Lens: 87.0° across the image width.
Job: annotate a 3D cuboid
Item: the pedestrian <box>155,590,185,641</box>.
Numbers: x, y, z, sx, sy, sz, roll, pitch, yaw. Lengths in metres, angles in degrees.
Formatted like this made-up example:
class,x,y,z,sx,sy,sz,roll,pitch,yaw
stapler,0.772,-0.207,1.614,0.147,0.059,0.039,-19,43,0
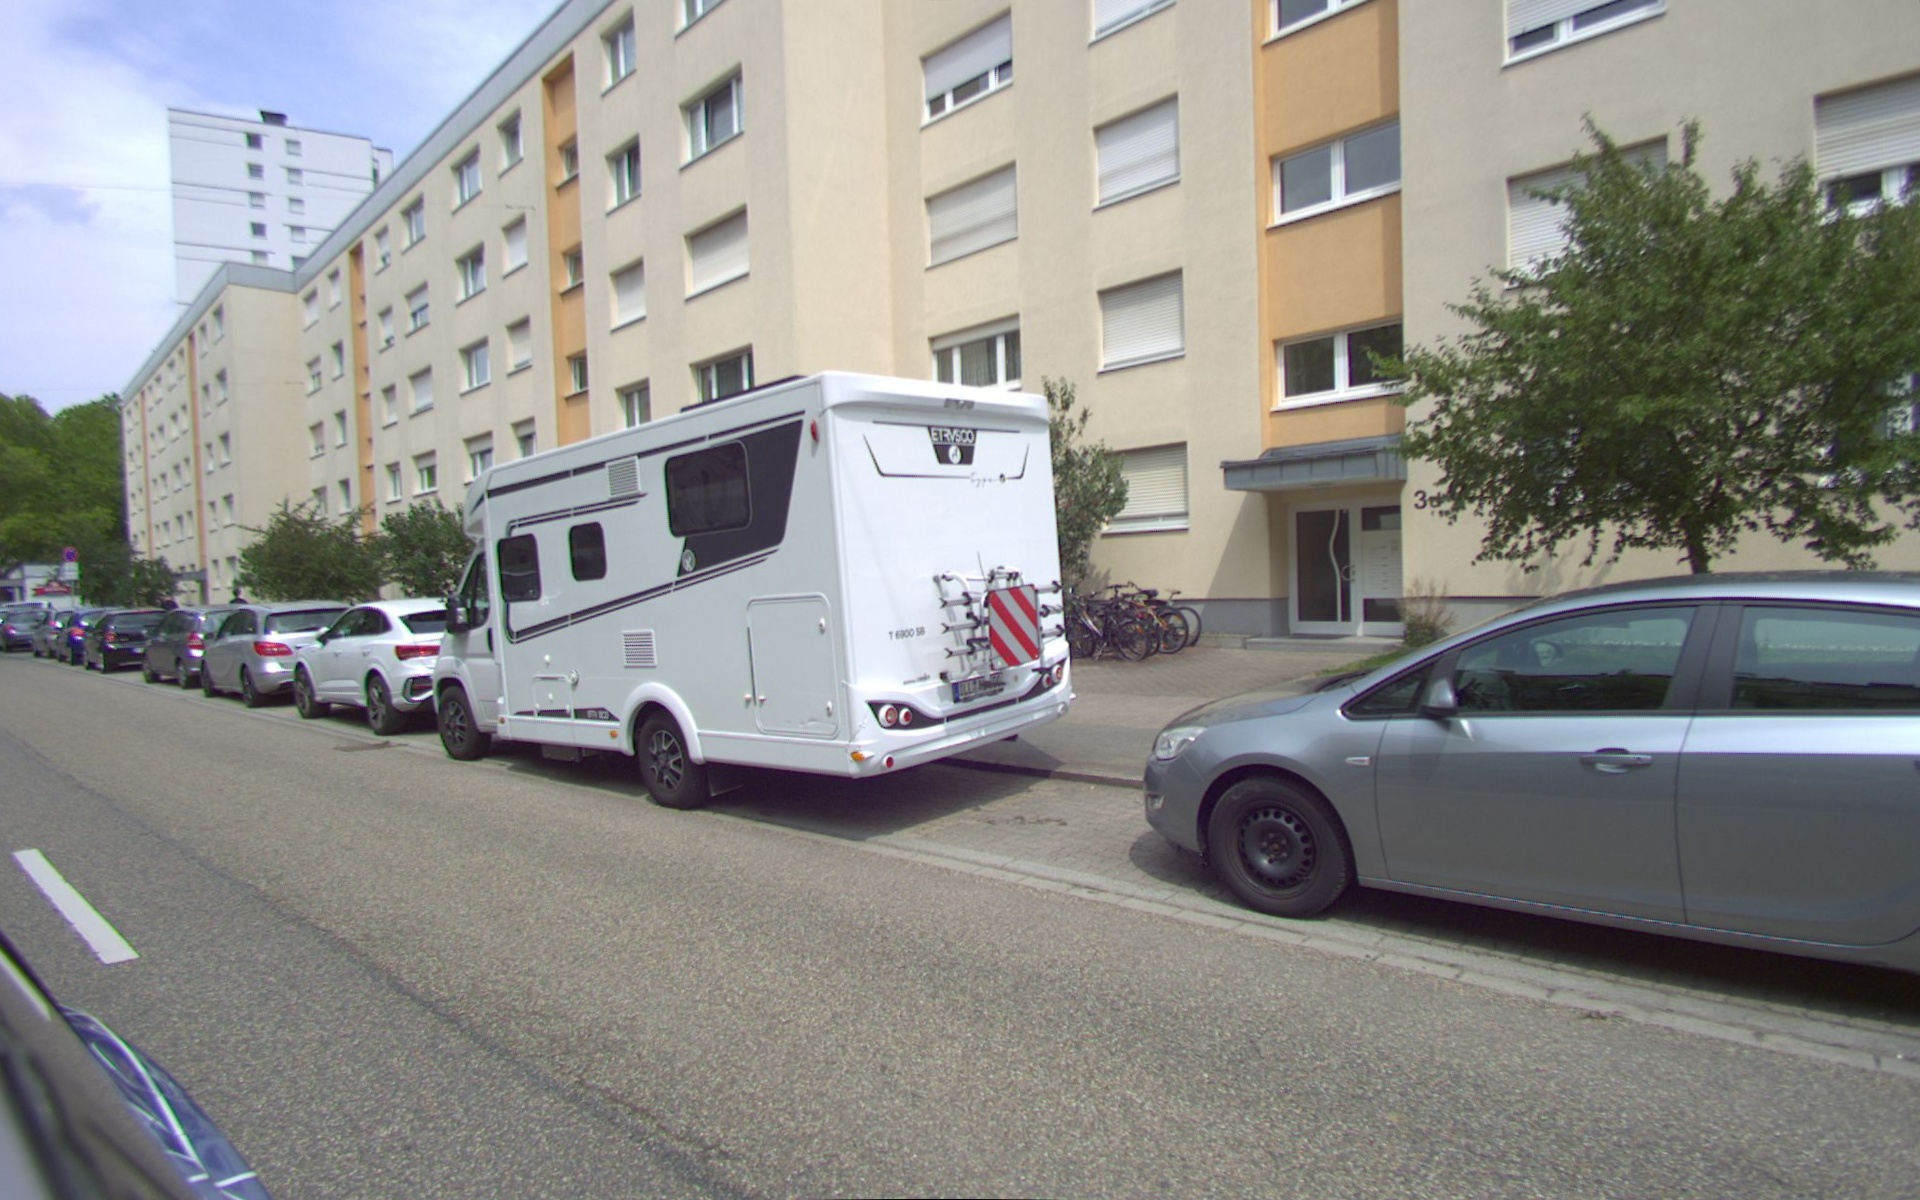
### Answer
class,x,y,z,sx,sy,sz,roll,pitch,yaw
pedestrian,-29.071,0.555,37.225,0.898,1.826,0.613,-1,2,39

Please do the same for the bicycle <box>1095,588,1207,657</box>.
class,x,y,z,sx,sy,sz,roll,pitch,yaw
bicycle,2.842,0.341,15.170,1.685,0.986,0.392,-2,0,44

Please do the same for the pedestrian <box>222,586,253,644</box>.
class,x,y,z,sx,sy,sz,roll,pitch,yaw
pedestrian,-23.199,0.481,32.497,0.803,1.826,0.613,-1,0,39

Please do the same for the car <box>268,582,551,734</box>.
class,x,y,z,sx,sy,sz,roll,pitch,yaw
car,-7.299,0.657,13.206,4.591,1.591,1.671,-1,2,41

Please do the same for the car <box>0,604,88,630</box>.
class,x,y,z,sx,sy,sz,roll,pitch,yaw
car,-65.002,1.172,71.921,4.576,1.699,1.851,-1,0,-43

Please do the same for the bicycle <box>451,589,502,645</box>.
class,x,y,z,sx,sy,sz,roll,pitch,yaw
bicycle,-12.927,0.457,27.028,2.130,1.436,0.457,-2,0,44

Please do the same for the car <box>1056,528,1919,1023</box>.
class,x,y,z,sx,sy,sz,roll,pitch,yaw
car,2.788,0.508,4.292,4.591,1.507,1.671,-1,2,41

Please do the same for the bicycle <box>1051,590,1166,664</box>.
class,x,y,z,sx,sy,sz,roll,pitch,yaw
bicycle,2.093,0.389,14.452,1.678,0.986,0.392,-2,0,44

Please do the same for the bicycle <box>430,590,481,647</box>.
class,x,y,z,sx,sy,sz,roll,pitch,yaw
bicycle,-13.283,0.497,26.617,2.130,1.423,0.457,-2,0,44

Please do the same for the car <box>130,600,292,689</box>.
class,x,y,z,sx,sy,sz,roll,pitch,yaw
car,-15.071,0.862,20.291,4.001,1.551,1.705,-2,0,40

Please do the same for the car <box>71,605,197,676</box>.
class,x,y,z,sx,sy,sz,roll,pitch,yaw
car,-20.409,0.945,24.941,4.116,1.494,1.799,-1,2,43

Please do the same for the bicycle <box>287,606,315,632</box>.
class,x,y,z,sx,sy,sz,roll,pitch,yaw
bicycle,-25.808,0.742,39.611,1.673,0.993,0.435,-1,2,41

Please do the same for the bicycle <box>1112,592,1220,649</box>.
class,x,y,z,sx,sy,sz,roll,pitch,yaw
bicycle,3.185,0.326,15.749,1.686,0.831,0.392,-2,0,45

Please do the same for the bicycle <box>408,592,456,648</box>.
class,x,y,z,sx,sy,sz,roll,pitch,yaw
bicycle,-13.647,0.526,26.130,0.457,1.404,2.131,-3,0,-45

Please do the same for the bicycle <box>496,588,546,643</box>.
class,x,y,z,sx,sy,sz,roll,pitch,yaw
bicycle,-12.076,0.434,27.802,2.130,1.436,0.457,-2,0,44

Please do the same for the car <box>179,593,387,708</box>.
class,x,y,z,sx,sy,sz,roll,pitch,yaw
car,-11.352,0.756,16.831,4.567,1.591,1.736,-1,2,42

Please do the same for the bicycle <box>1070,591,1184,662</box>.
class,x,y,z,sx,sy,sz,roll,pitch,yaw
bicycle,2.413,0.388,14.776,1.685,0.986,0.392,-2,0,44

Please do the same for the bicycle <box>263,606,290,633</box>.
class,x,y,z,sx,sy,sz,roll,pitch,yaw
bicycle,-26.329,0.735,38.991,1.615,0.993,0.435,-1,2,41

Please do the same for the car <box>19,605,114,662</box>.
class,x,y,z,sx,sy,sz,roll,pitch,yaw
car,-28.088,1.011,31.782,3.849,1.573,1.653,-1,2,40

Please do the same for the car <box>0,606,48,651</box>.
class,x,y,z,sx,sy,sz,roll,pitch,yaw
car,-37.568,1.108,39.904,4.861,1.624,1.921,-1,3,43

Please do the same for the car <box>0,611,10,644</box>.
class,x,y,z,sx,sy,sz,roll,pitch,yaw
car,-45.803,1.321,47.141,3.985,1.483,1.692,-1,2,40

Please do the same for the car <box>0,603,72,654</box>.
class,x,y,z,sx,sy,sz,roll,pitch,yaw
car,-33.673,1.003,36.481,4.300,1.624,1.922,-1,3,42

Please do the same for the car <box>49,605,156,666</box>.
class,x,y,z,sx,sy,sz,roll,pitch,yaw
car,-23.980,0.943,28.265,3.885,1.494,1.798,-1,2,43

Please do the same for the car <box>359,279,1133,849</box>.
class,x,y,z,sx,sy,sz,roll,pitch,yaw
car,-2.400,-0.198,8.775,7.392,3.046,2.485,-1,2,41

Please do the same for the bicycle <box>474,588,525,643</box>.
class,x,y,z,sx,sy,sz,roll,pitch,yaw
bicycle,-12.489,0.430,27.422,2.130,1.436,0.457,-2,0,44

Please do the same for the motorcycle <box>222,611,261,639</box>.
class,x,y,z,sx,sy,sz,roll,pitch,yaw
motorcycle,-26.932,0.920,37.921,2.316,0.993,0.655,-1,2,41

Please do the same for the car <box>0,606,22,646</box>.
class,x,y,z,sx,sy,sz,roll,pitch,yaw
car,-41.718,1.159,43.231,4.471,1.624,1.681,-1,2,38
